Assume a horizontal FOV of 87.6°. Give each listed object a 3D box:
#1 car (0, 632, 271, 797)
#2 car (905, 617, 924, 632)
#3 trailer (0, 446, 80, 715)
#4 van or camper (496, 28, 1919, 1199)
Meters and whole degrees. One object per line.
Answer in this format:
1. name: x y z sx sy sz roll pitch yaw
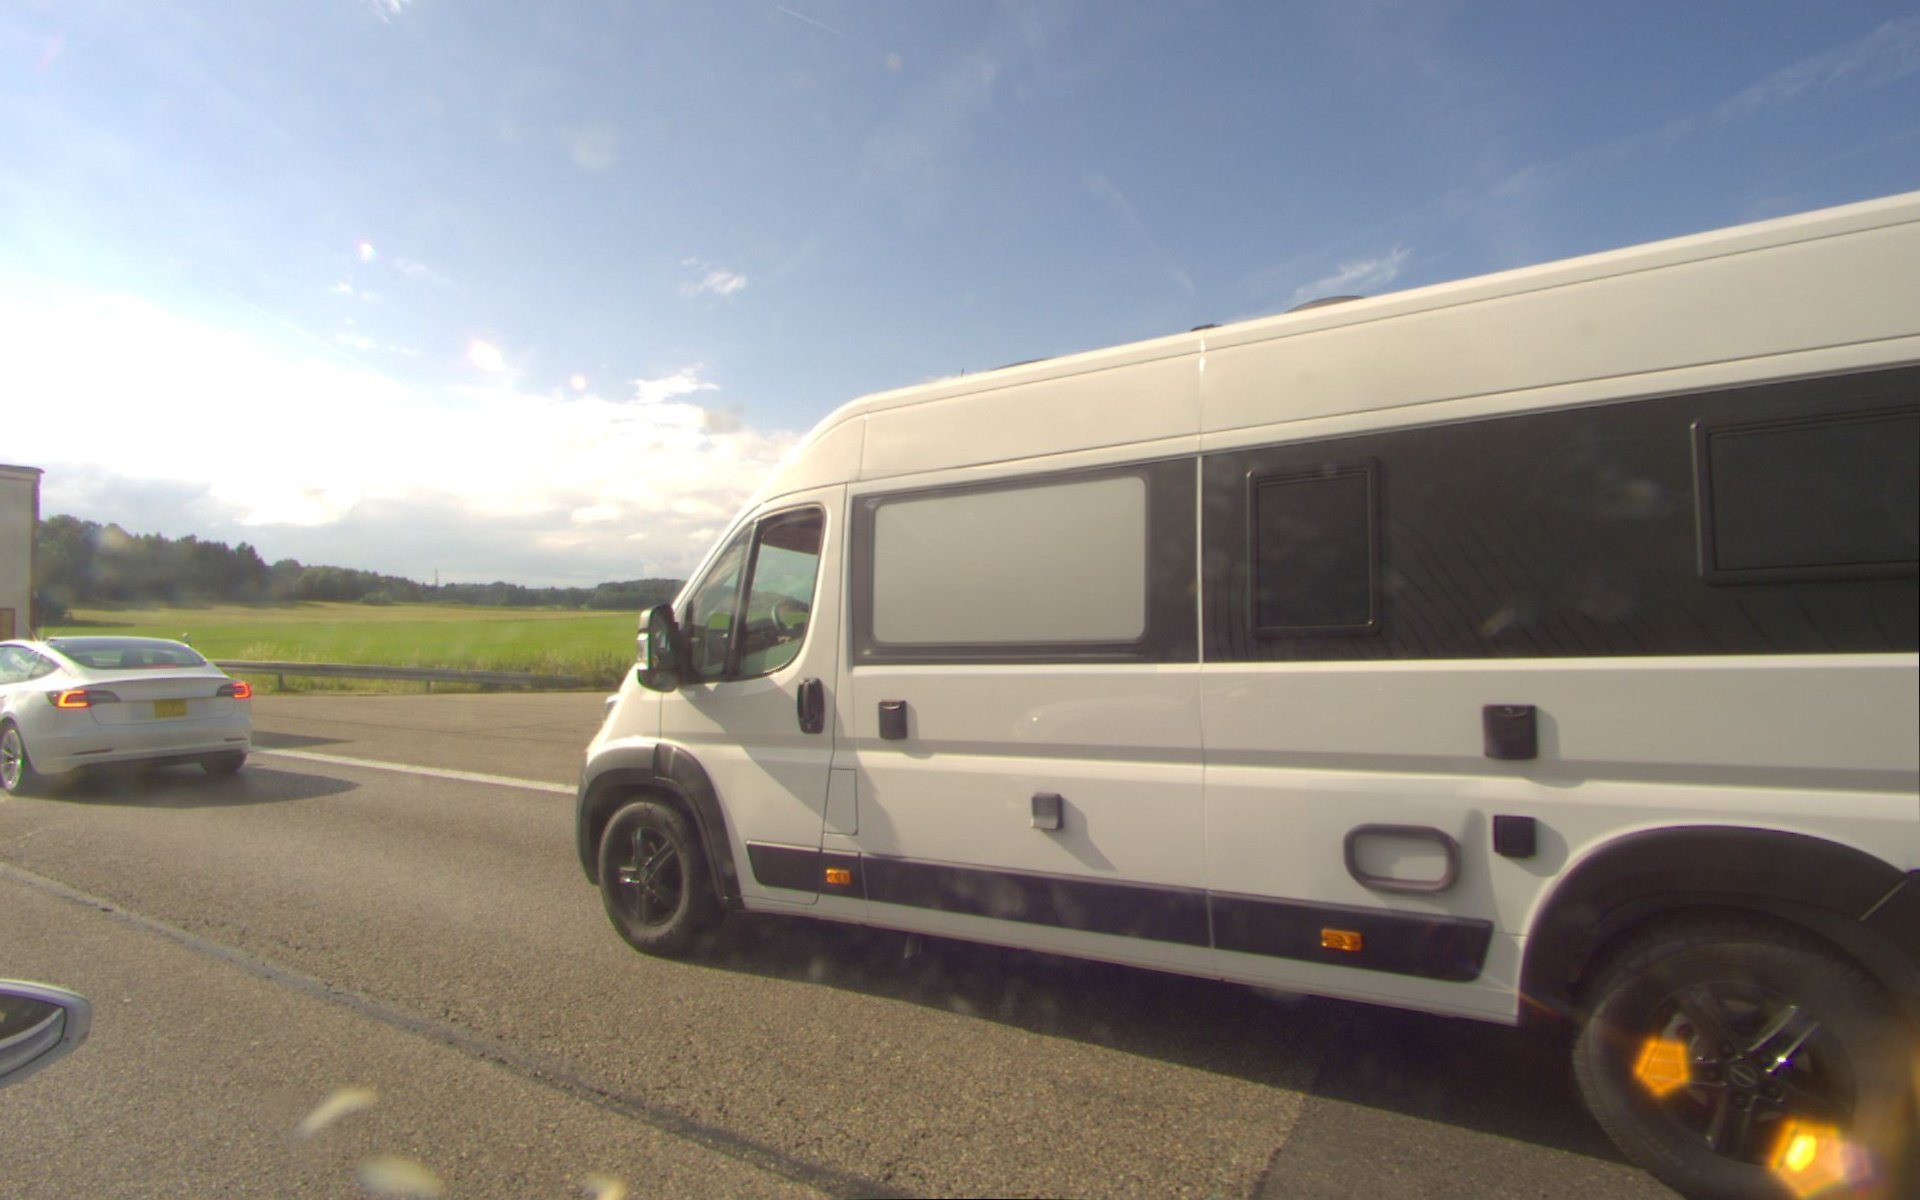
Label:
1. car: -9.349 1.050 10.554 4.371 1.412 1.786 -1 -1 30
2. car: -4.488 2.443 98.521 1.676 1.450 4.232 -1 -1 -4
3. trailer: -20.354 -0.082 18.199 13.181 4.061 3.125 -2 -2 33
4. van or camper: 0.970 0.176 4.167 6.241 2.716 2.211 -1 -1 32
